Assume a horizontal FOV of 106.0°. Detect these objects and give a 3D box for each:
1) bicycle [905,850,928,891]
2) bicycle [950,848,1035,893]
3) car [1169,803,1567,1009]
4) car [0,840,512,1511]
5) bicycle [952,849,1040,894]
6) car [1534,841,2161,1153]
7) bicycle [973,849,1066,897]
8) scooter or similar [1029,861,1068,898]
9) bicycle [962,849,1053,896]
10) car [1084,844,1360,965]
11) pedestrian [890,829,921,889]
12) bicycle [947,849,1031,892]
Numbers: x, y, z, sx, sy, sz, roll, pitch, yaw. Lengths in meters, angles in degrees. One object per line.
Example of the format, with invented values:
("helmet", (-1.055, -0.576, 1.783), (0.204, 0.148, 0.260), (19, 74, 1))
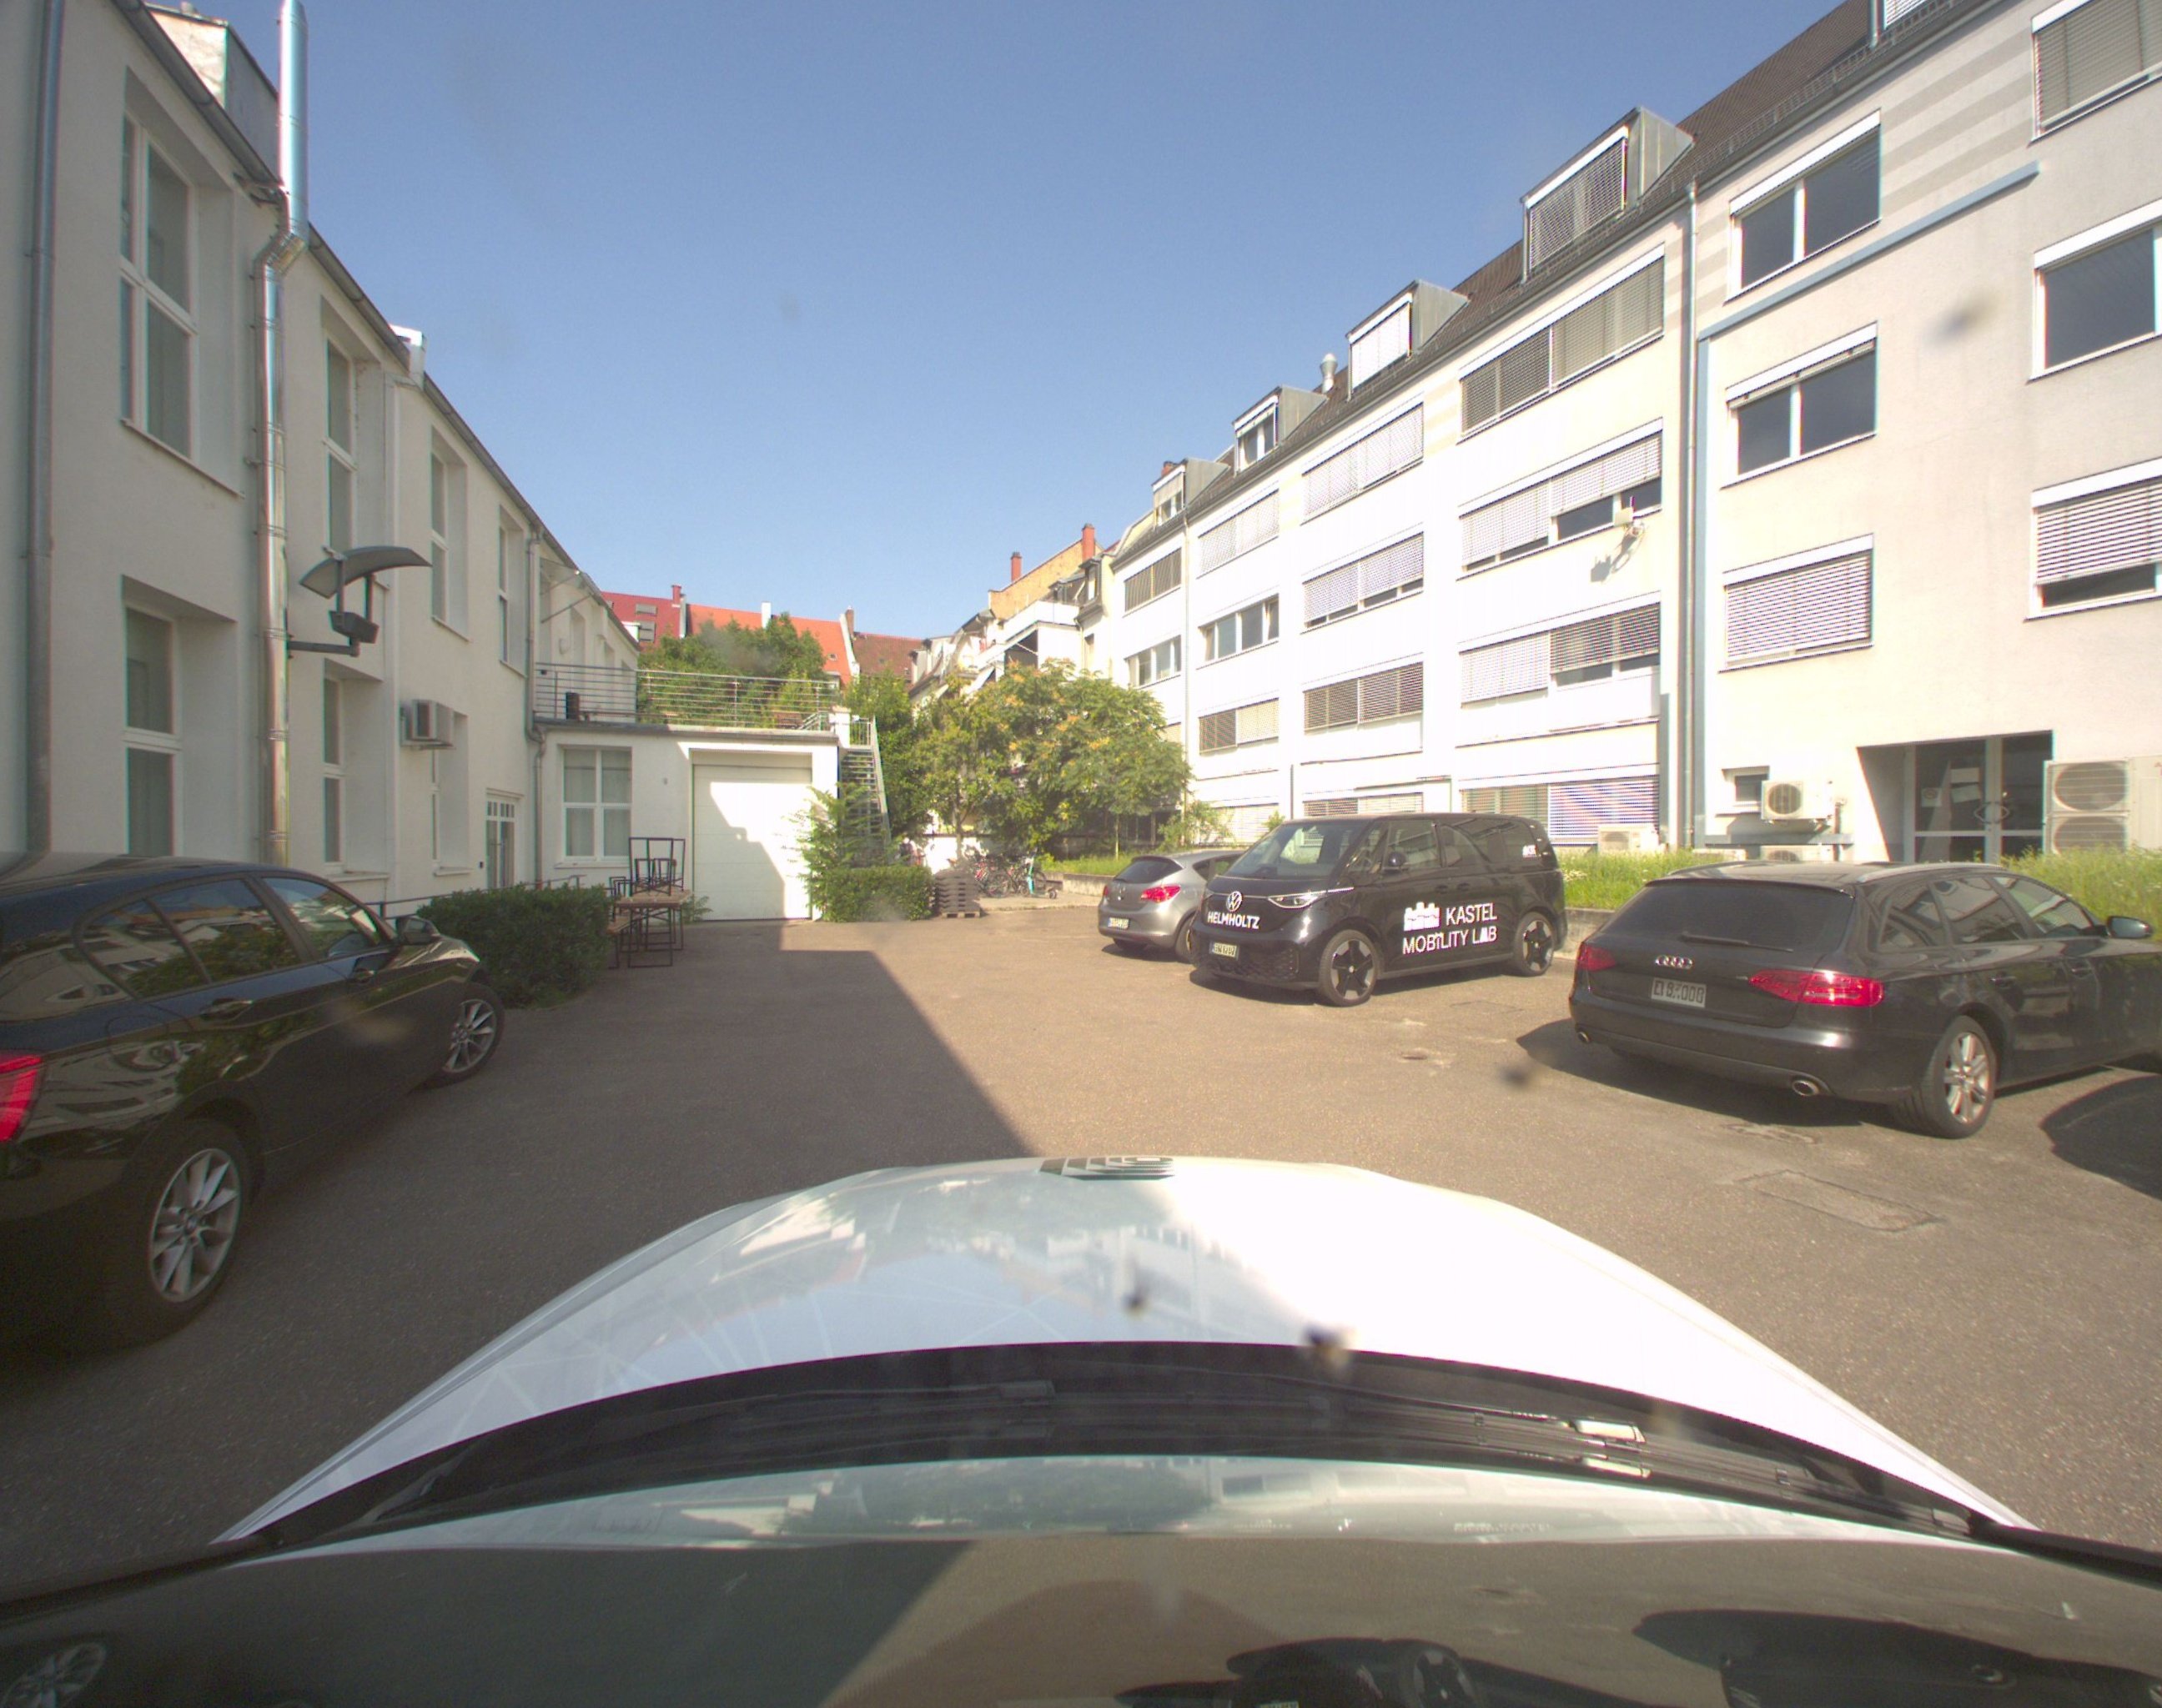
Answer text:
("bicycle", (-4.941, 0.471, 24.344), (0.489, 1.143, 1.983), (-1, 2, -16))
("bicycle", (-2.569, 0.474, 23.709), (2.419, 1.246, 0.523), (0, 0, -20))
("car", (3.321, 0.424, 9.248), (4.362, 1.858, 1.897), (-1, 1, -30))
("car", (-3.927, 0.669, 3.289), (1.800, 1.428, 4.105), (0, 1, -23))
("bicycle", (-2.410, 0.482, 23.081), (2.419, 1.246, 0.523), (0, 0, -20))
("car", (5.277, 0.651, 5.418), (4.249, 1.437, 1.678), (-1, 1, -22))
("bicycle", (-1.640, 0.491, 21.751), (2.419, 1.246, 0.523), (0, 0, -20))
("scooter or similar", (-0.872, 0.667, 21.579), (0.986, 0.924, 0.362), (1, 0, 32))
("bicycle", (-2.002, 0.489, 22.339), (2.419, 1.246, 0.523), (0, 0, -20))
("car", (2.122, 0.605, 11.862), (3.924, 1.466, 1.646), (-1, 1, -34))
("pedestrian", (-5.259, 0.150, 24.387), (0.860, 1.771, 0.608), (1, 0, -15))
("bicycle", (-2.739, 0.480, 24.321), (2.419, 1.246, 0.523), (0, 0, -20))
